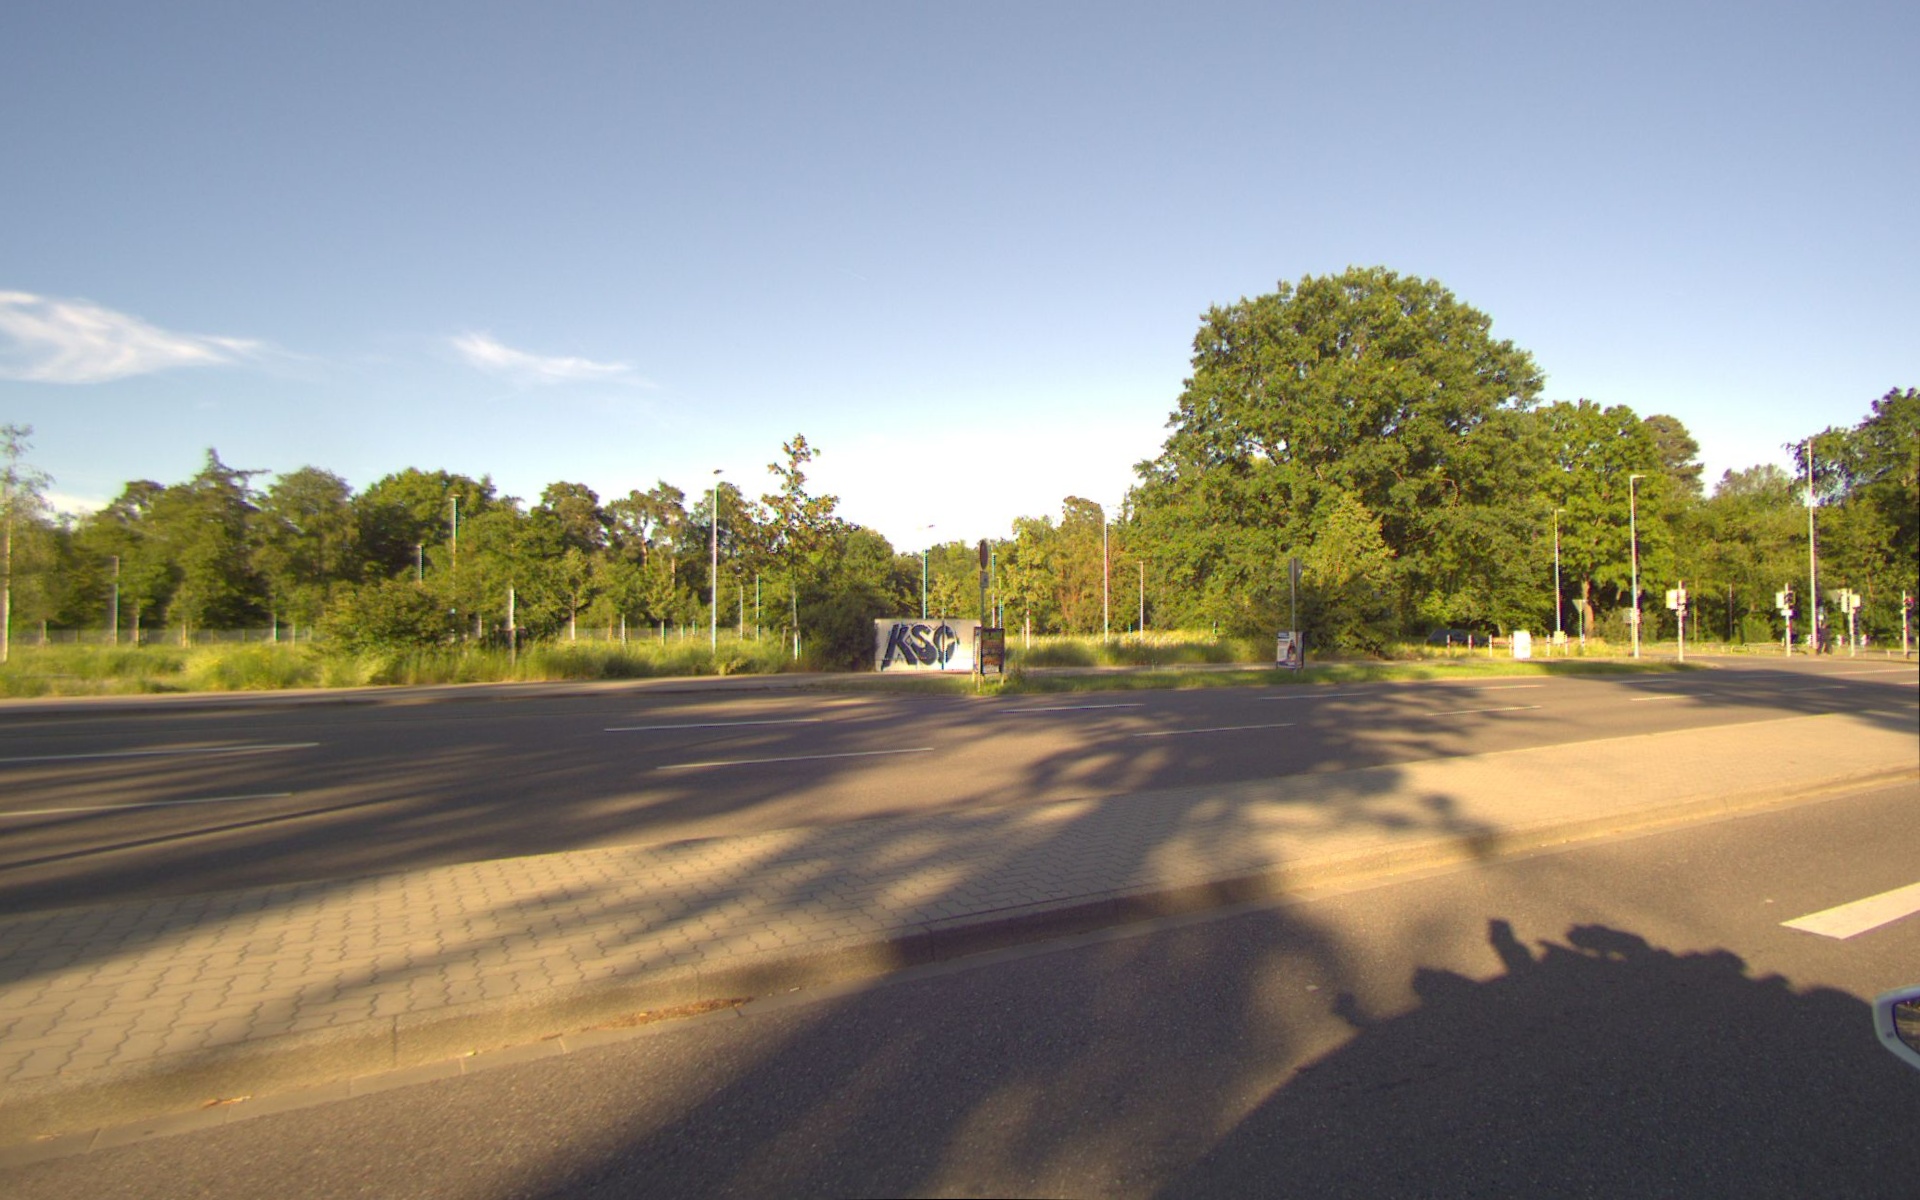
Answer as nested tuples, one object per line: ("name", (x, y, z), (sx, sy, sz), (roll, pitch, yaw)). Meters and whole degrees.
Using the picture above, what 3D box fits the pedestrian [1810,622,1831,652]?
("pedestrian", (45.375, 1.949, 52.966), (0.636, 1.580, 0.539), (-1, -2, 19))

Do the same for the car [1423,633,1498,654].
("car", (37.865, 3.318, 76.090), (1.976, 1.517, 4.751), (1, -3, -30))
